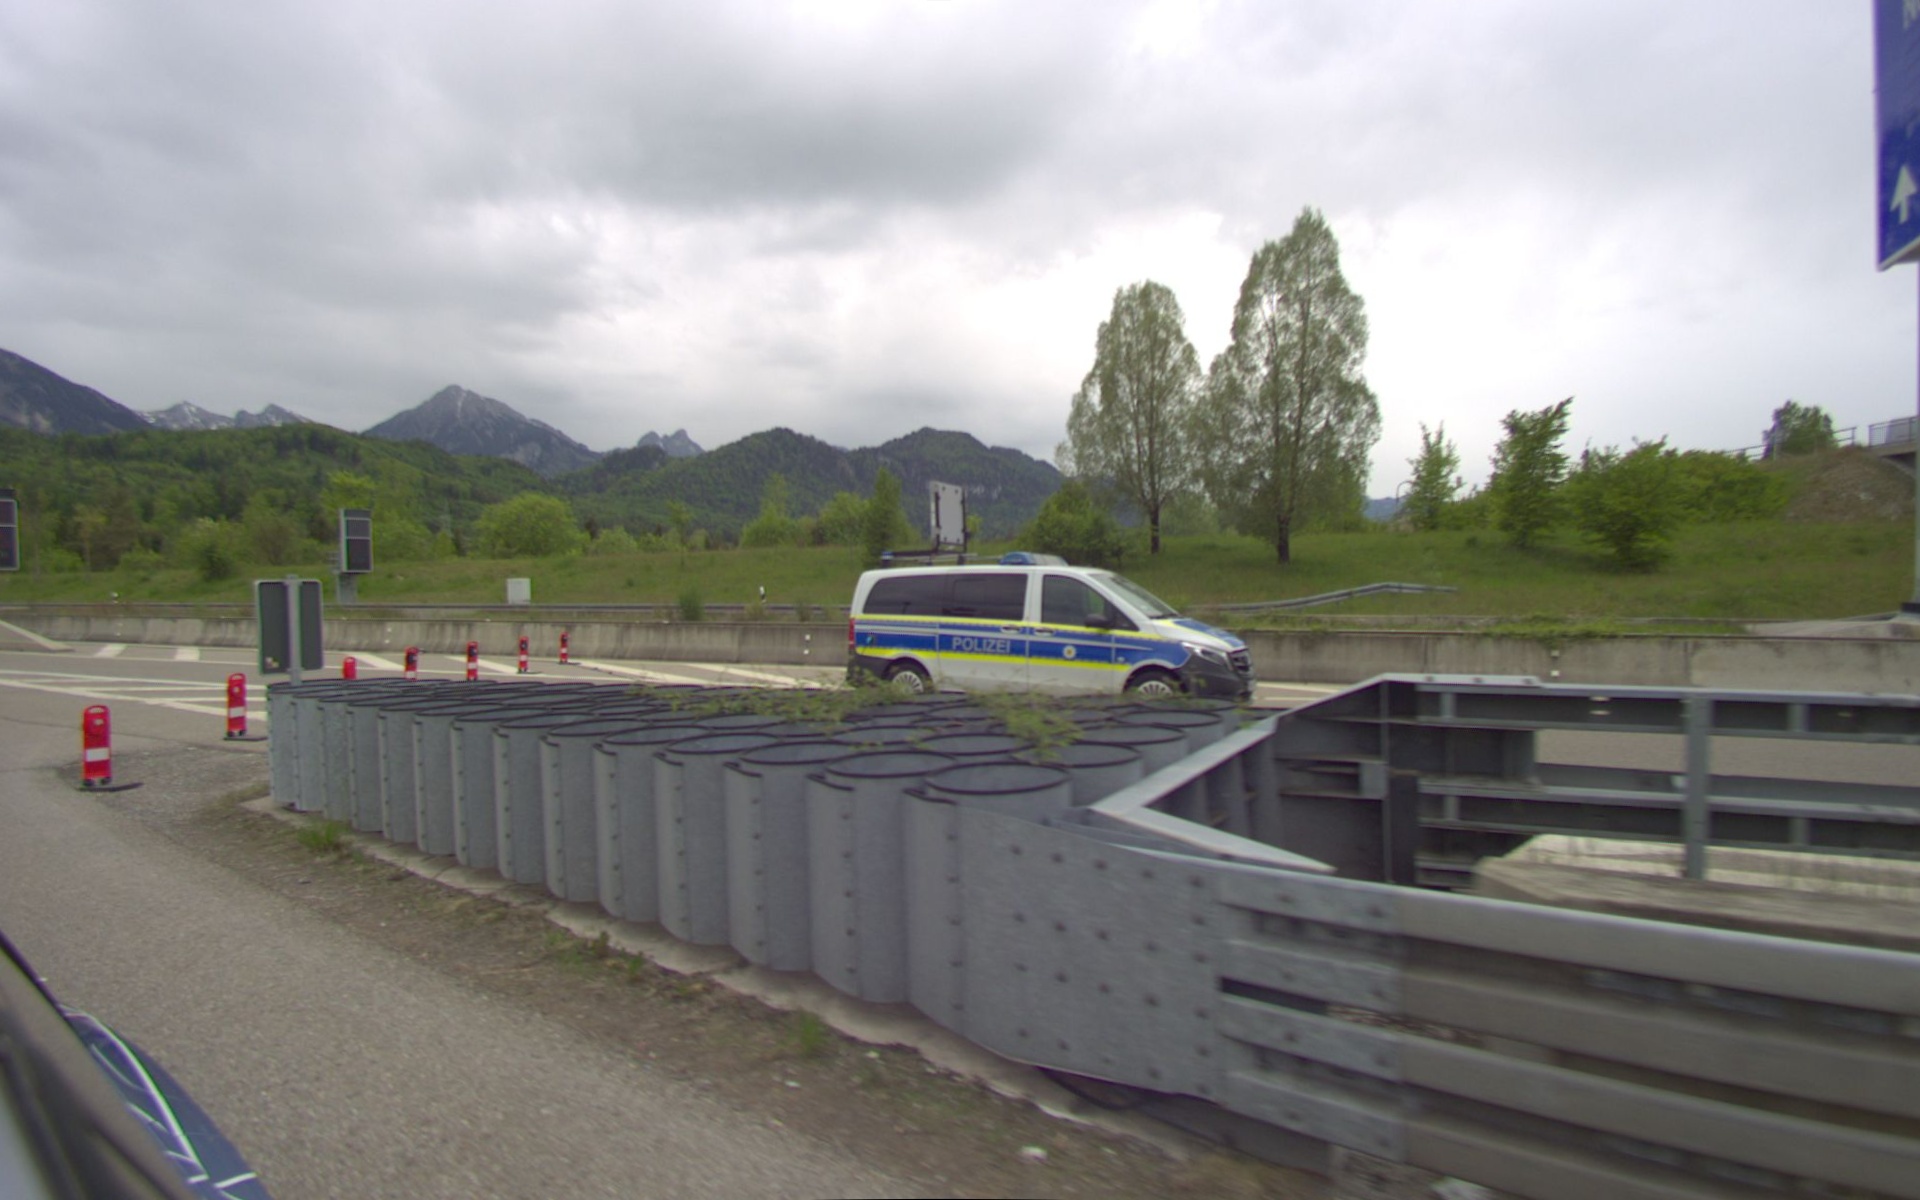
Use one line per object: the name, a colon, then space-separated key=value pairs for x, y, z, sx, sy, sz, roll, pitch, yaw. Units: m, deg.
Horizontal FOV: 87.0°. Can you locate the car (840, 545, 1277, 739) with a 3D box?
car: x=1.214 y=0.431 z=12.732 sx=5.024 sy=2.029 sz=2.273 roll=0 pitch=0 yaw=27

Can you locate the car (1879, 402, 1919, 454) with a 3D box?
car: x=51.859 y=-9.372 z=53.223 sx=1.974 sy=2.268 sz=5.745 roll=0 pitch=-2 yaw=4
